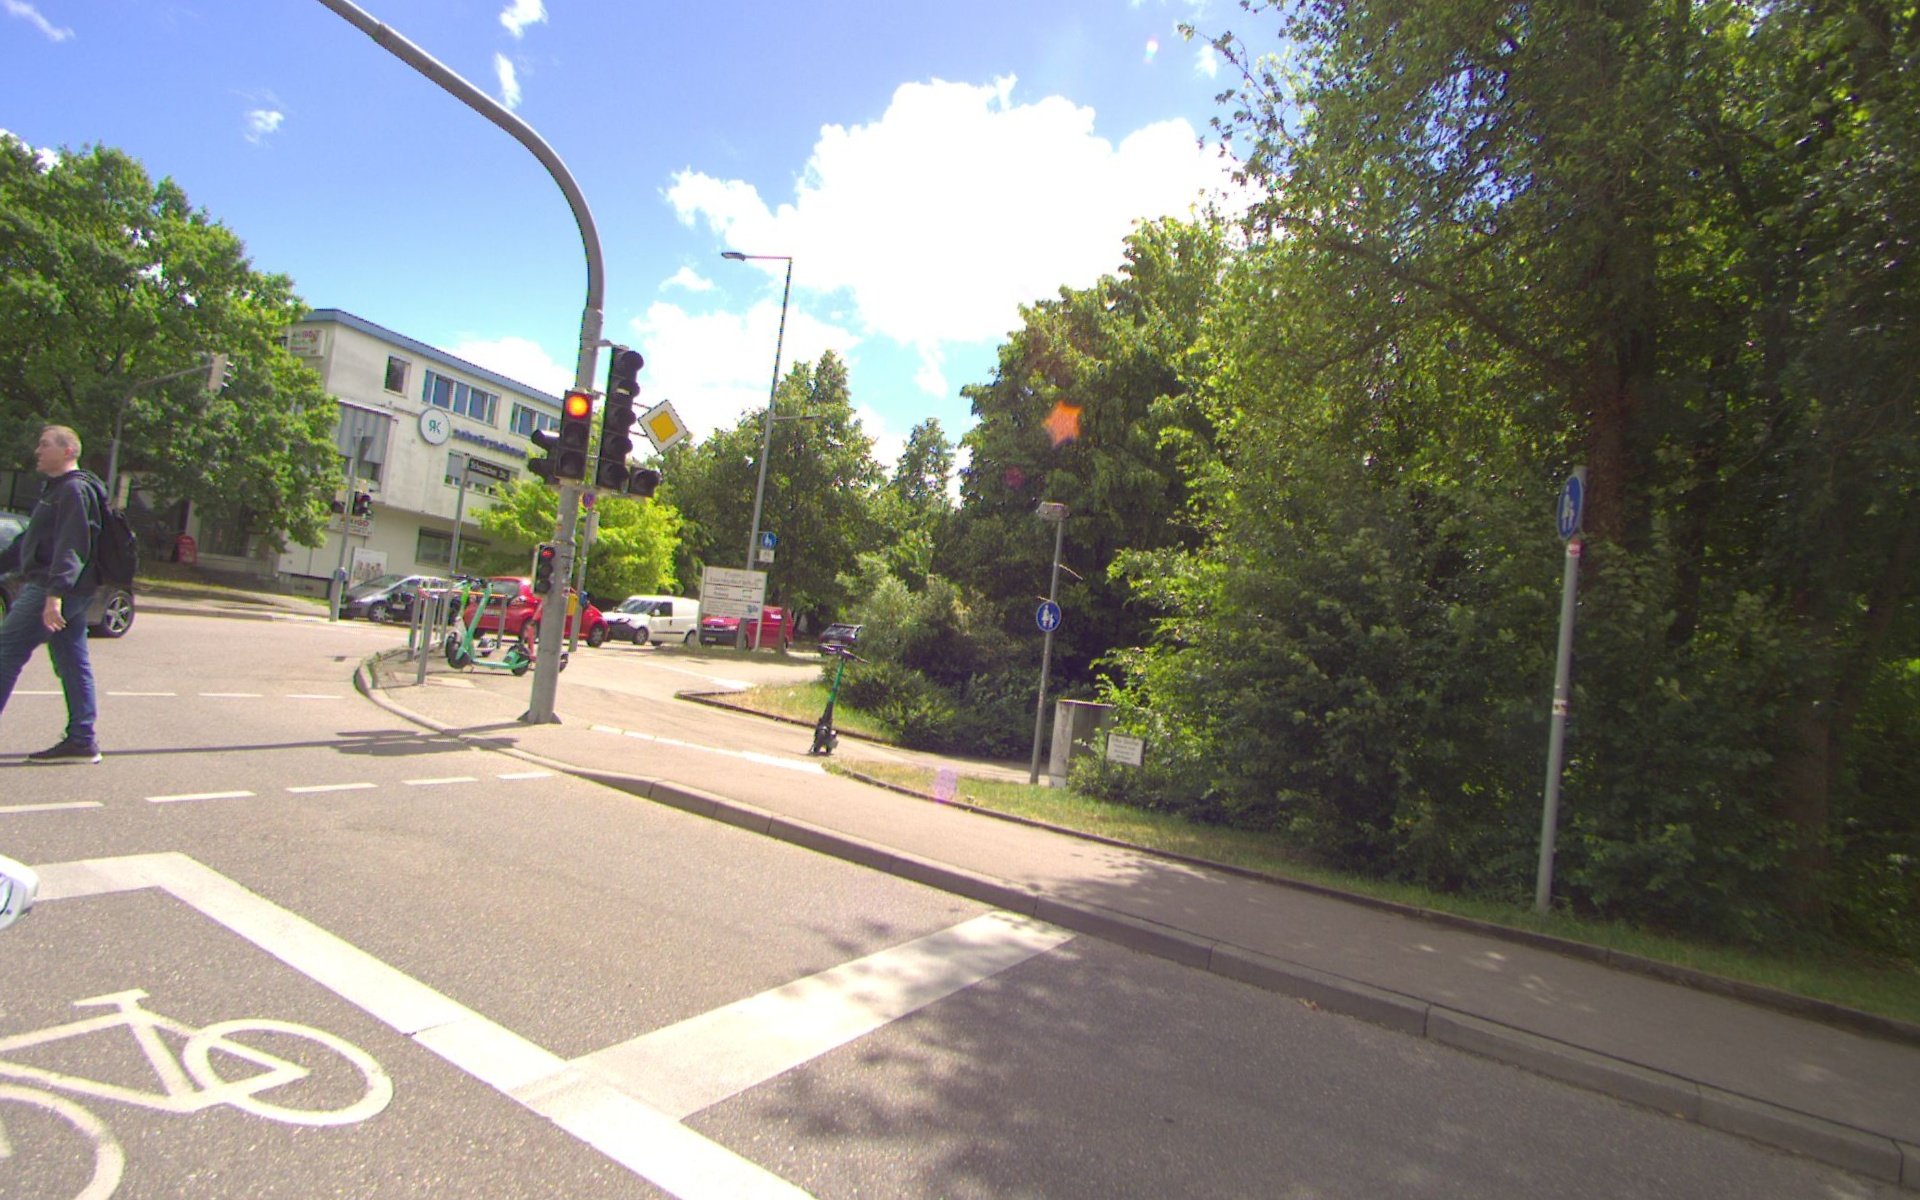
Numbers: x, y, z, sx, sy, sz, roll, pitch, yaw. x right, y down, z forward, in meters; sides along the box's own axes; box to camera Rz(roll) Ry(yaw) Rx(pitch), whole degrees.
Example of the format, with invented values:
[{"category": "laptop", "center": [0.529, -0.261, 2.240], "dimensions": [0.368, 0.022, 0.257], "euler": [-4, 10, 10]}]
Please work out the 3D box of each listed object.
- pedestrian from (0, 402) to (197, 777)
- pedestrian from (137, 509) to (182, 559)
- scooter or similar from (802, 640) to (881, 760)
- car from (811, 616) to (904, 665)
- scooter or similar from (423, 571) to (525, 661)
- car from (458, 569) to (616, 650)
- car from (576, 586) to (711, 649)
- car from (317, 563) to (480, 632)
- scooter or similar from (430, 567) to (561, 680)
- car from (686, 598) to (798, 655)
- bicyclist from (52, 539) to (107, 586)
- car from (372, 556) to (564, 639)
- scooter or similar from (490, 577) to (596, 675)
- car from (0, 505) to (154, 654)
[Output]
[{"category": "pedestrian", "center": [-5.301, -0.054, 5.786], "dimensions": [0.881, 1.964, 0.969], "euler": [7, -1, 27]}, {"category": "pedestrian", "center": [-29.563, -2.433, 37.148], "dimensions": [0.890, 1.662, 0.771], "euler": [7, -1, 17]}, {"category": "scooter or similar", "center": [-1.466, 1.228, 12.322], "dimensions": [0.706, 1.287, 1.243], "euler": [10, -7, -8]}, {"category": "car", "center": [-3.990, 1.664, 40.033], "dimensions": [1.962, 1.571, 4.526], "euler": [7, -2, 17]}, {"category": "scooter or similar", "center": [-7.075, 0.263, 14.717], "dimensions": [0.533, 1.168, 1.362], "euler": [9, -3, 7]}, {"category": "car", "center": [-9.608, 0.265, 23.085], "dimensions": [1.518, 1.458, 3.200], "euler": [7, -2, 17]}, {"category": "car", "center": [-11.186, 0.679, 35.960], "dimensions": [1.963, 1.737, 4.576], "euler": [7, -2, 22]}, {"category": "car", "center": [-17.211, -0.030, 31.060], "dimensions": [1.963, 1.573, 3.923], "euler": [7, -2, 21]}, {"category": "scooter or similar", "center": [-6.007, 0.325, 13.057], "dimensions": [0.455, 1.292, 1.344], "euler": [8, -1, 38]}, {"category": "car", "center": [-8.816, 1.137, 41.205], "dimensions": [1.964, 1.885, 4.822], "euler": [5, -3, 22]}, {"category": "bicyclist", "center": [-22.391, -0.944, 25.581], "dimensions": [0.625, 1.034, 0.793], "euler": [7, -2, 31]}, {"category": "car", "center": [-13.890, 0.004, 28.721], "dimensions": [1.964, 1.737, 4.574], "euler": [7, -2, 25]}, {"category": "scooter or similar", "center": [-6.060, 0.395, 14.690], "dimensions": [0.547, 1.254, 1.232], "euler": [8, -3, 23]}, {"category": "car", "center": [-10.890, -0.329, 11.078], "dimensions": [1.733, 1.504, 3.985], "euler": [8, -2, -19]}]
